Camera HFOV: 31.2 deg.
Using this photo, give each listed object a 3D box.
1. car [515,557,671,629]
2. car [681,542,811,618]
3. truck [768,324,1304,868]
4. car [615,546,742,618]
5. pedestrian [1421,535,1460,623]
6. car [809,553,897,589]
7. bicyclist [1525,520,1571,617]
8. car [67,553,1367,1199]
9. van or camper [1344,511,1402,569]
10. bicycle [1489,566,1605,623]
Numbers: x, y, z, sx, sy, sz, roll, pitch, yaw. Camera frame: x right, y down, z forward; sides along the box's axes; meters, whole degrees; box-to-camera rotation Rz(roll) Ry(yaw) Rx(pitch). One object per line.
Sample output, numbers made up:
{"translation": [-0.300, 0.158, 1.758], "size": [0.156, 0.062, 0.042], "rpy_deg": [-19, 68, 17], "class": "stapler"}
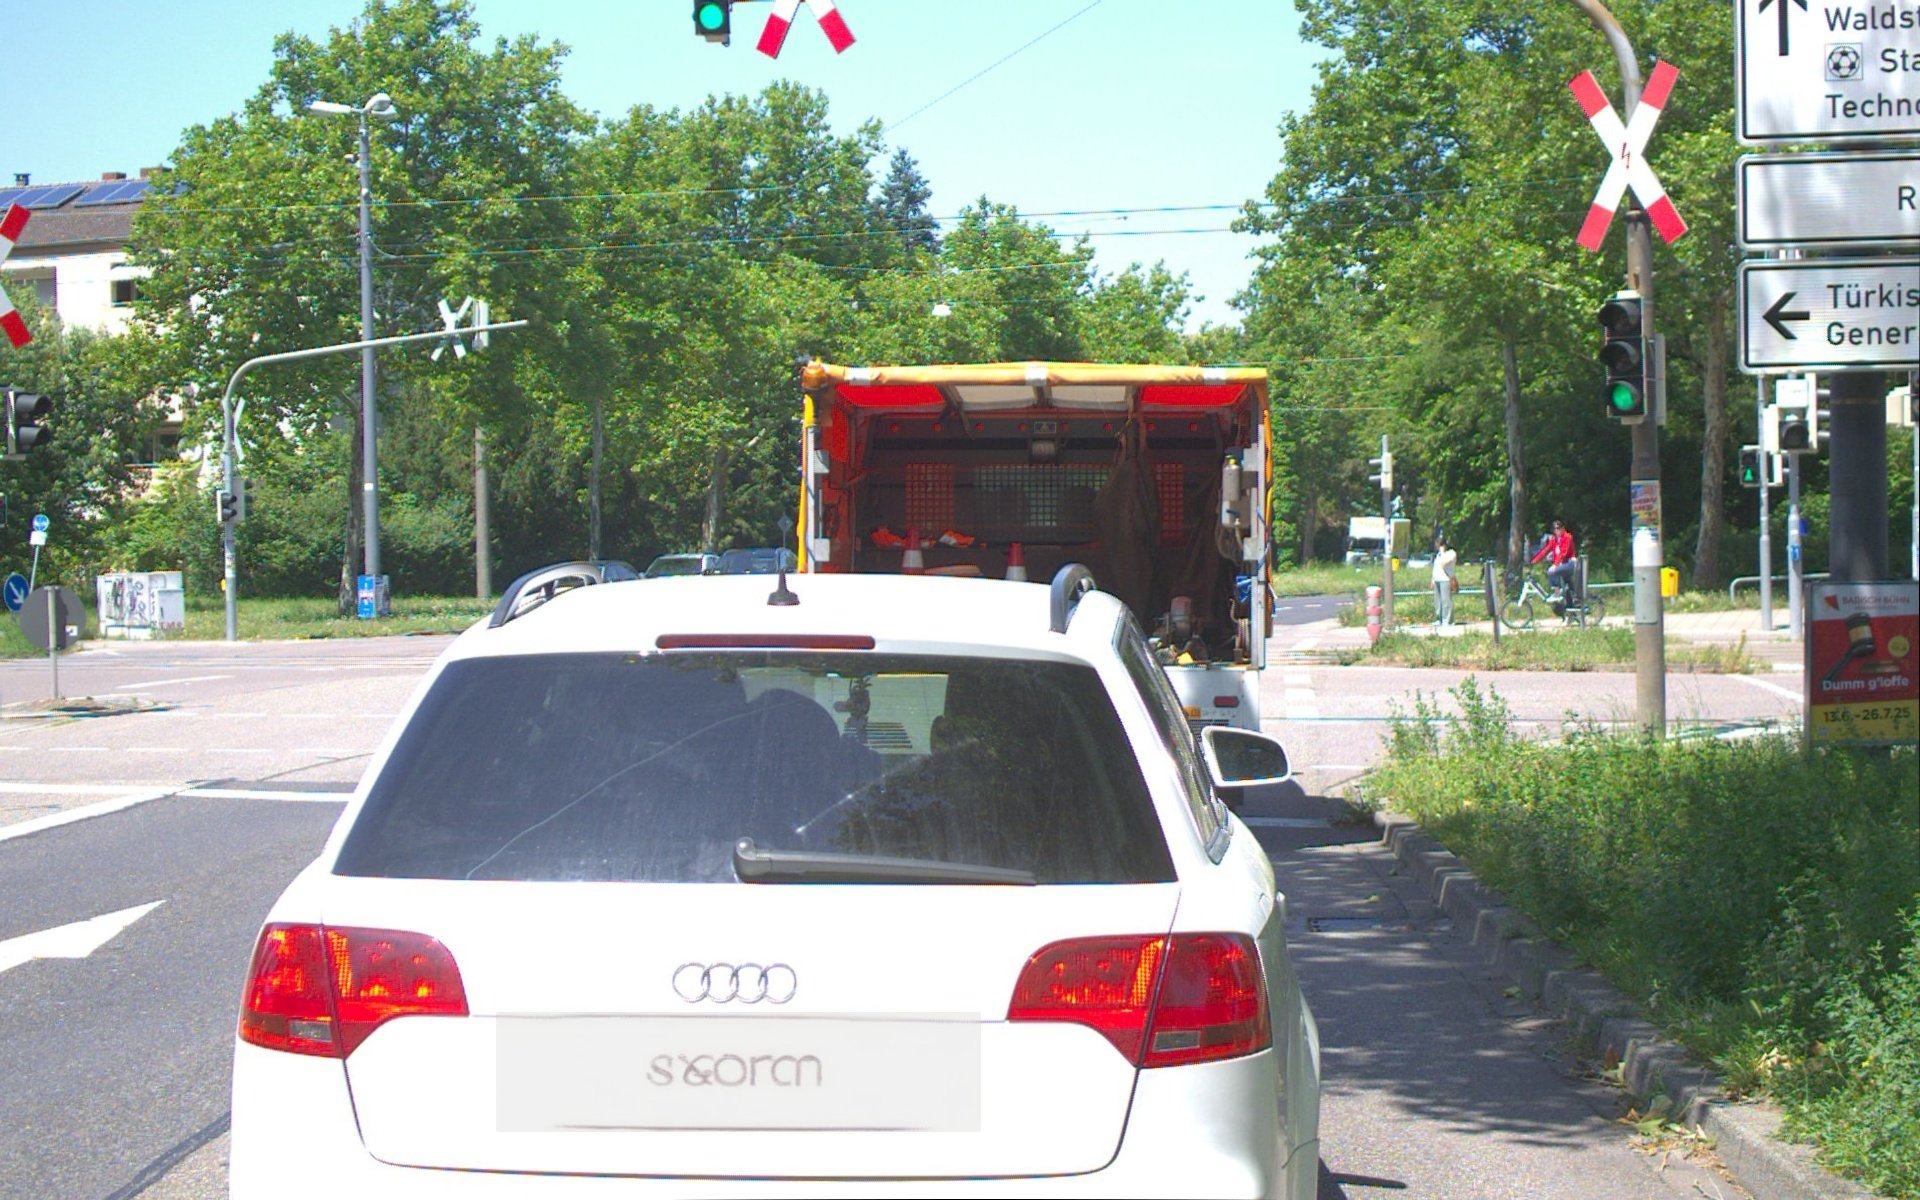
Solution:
{"translation": [-7.806, -0.172, 73.654], "size": [1.950, 1.435, 4.744], "rpy_deg": [0, 1, 12], "class": "car"}
{"translation": [-4.575, -0.450, 74.134], "size": [1.909, 1.533, 4.297], "rpy_deg": [-1, 1, 8], "class": "car"}
{"translation": [0.527, -0.065, 20.117], "size": [2.511, 2.551, 7.603], "rpy_deg": [1, 1, 3], "class": "truck"}
{"translation": [-6.581, -0.440, 80.806], "size": [1.788, 1.609, 4.402], "rpy_deg": [-1, 1, 12], "class": "car"}
{"translation": [8.158, -0.368, 58.348], "size": [0.553, 1.479, 0.629], "rpy_deg": [-1, 1, 16], "class": "pedestrian"}
{"translation": [-4.311, -1.191, 139.192], "size": [1.884, 1.388, 3.994], "rpy_deg": [0, 1, 26], "class": "car"}
{"translation": [9.539, -0.512, 55.788], "size": [0.671, 1.551, 0.579], "rpy_deg": [-1, 1, 4], "class": "bicyclist"}
{"translation": [-0.227, 0.646, 6.447], "size": [1.763, 1.440, 3.615], "rpy_deg": [0, 1, 4], "class": "car"}
{"translation": [24.198, -3.505, 201.441], "size": [2.662, 3.320, 5.497], "rpy_deg": [0, 1, 14], "class": "van or camper"}
{"translation": [9.515, -0.089, 55.789], "size": [1.806, 0.892, 0.589], "rpy_deg": [-1, 1, 5], "class": "bicycle"}
